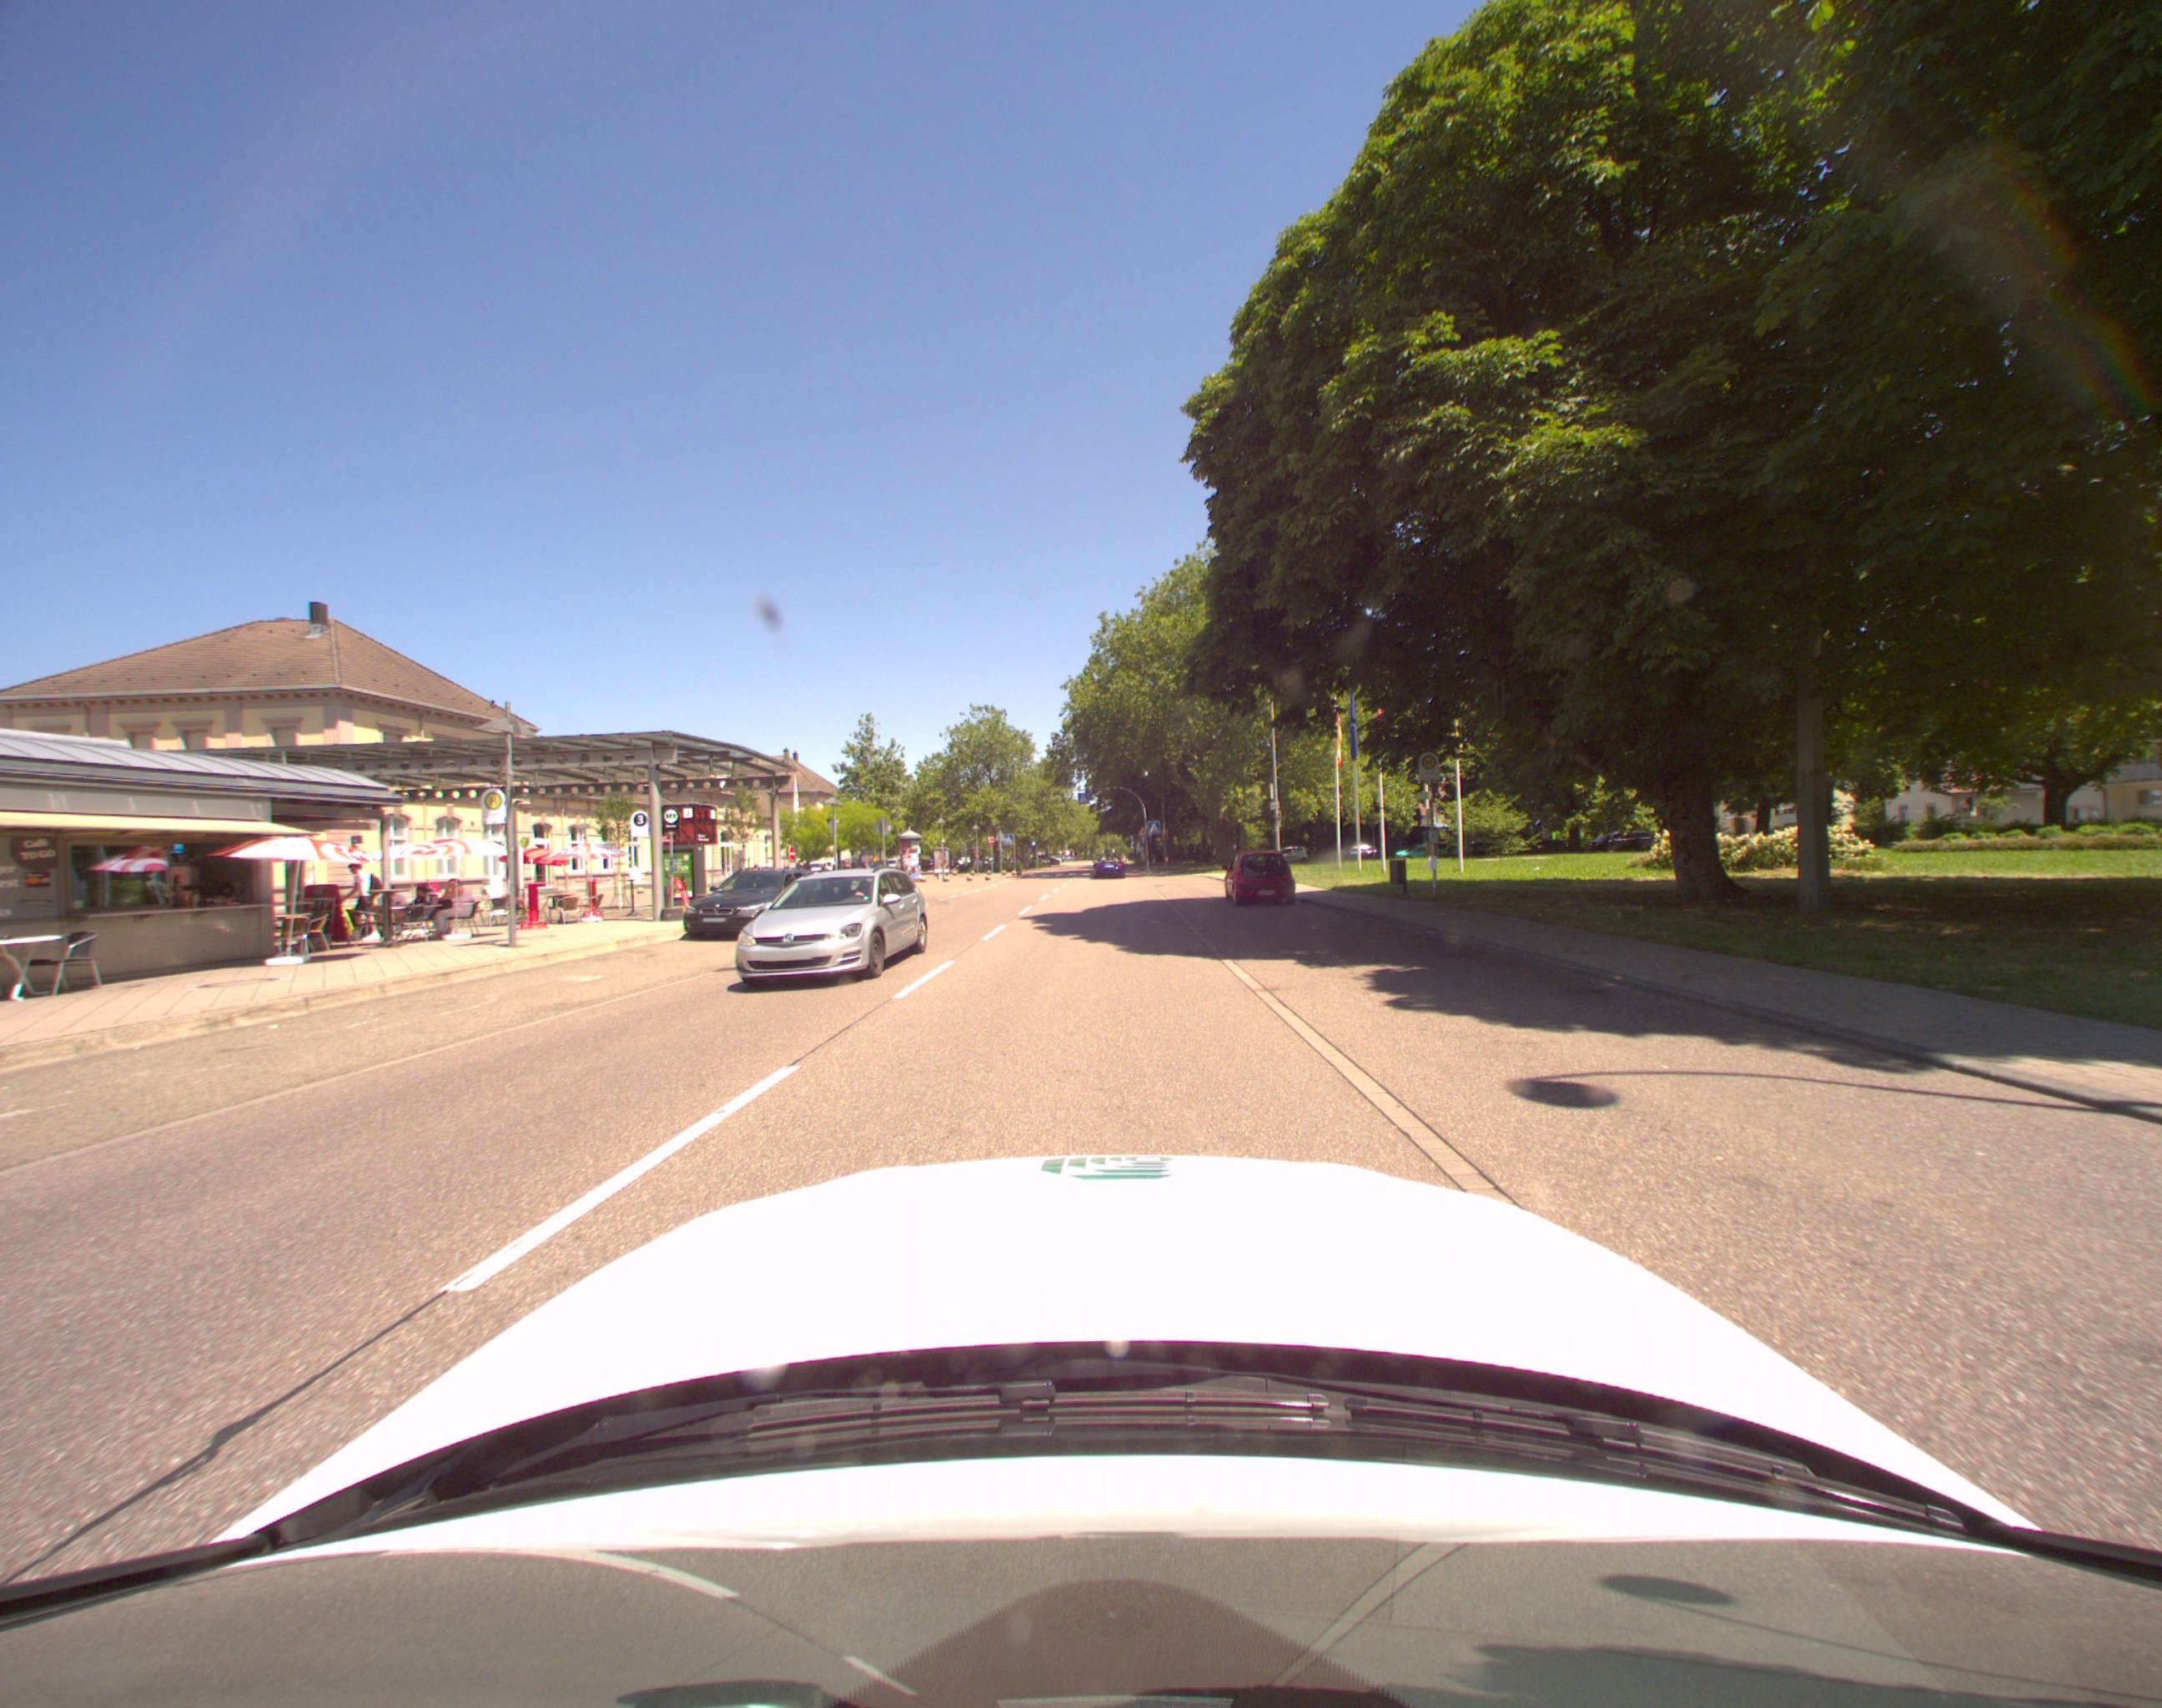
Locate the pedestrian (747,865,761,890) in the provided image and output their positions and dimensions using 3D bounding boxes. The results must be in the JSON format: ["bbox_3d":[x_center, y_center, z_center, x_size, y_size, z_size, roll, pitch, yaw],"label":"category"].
[{"bbox_3d":[-22.260,1.626,55.509,0.661,1.673,0.623,0,-3,-44],"label":"pedestrian"}]

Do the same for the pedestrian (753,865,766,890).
[{"bbox_3d":[-22.263,1.646,56.380,0.589,1.710,0.580,0,-3,-44],"label":"pedestrian"}]

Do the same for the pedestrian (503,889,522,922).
[{"bbox_3d":[-16.376,1.488,23.469,0.373,0.923,0.422,-1,-2,-27],"label":"pedestrian"}]

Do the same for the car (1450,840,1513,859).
[{"bbox_3d":[33.491,-0.373,68.158,4.320,1.416,2.001,-1,-1,2],"label":"car"}]

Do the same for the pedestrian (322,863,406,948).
[{"bbox_3d":[-16.152,1.147,18.366,0.793,1.828,1.147,-3,-2,19],"label":"pedestrian"}]

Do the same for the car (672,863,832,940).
[{"bbox_3d":[-7.516,1.012,19.187,1.713,1.478,4.786,-3,0,1],"label":"car"}]

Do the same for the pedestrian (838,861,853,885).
[{"bbox_3d":[-16.850,1.377,58.253,0.754,1.659,0.724,-3,-2,19],"label":"pedestrian"}]

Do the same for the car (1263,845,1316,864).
[{"bbox_3d":[17.755,0.019,69.417,4.085,1.466,2.003,-2,0,5],"label":"car"}]

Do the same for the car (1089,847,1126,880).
[{"bbox_3d":[1.555,0.561,48.903,2.118,1.848,4.048,-1,0,0],"label":"car"}]

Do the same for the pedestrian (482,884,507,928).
[{"bbox_3d":[-15.488,1.380,21.517,0.367,1.123,0.429,-4,-2,36],"label":"pedestrian"}]

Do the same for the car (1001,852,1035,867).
[{"bbox_3d":[-8.170,0.679,104.858,3.996,1.781,1.989,-2,0,-17],"label":"car"}]

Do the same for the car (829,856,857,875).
[{"bbox_3d":[-27.454,1.318,94.093,1.987,2.013,4.000,-2,0,1],"label":"car"}]

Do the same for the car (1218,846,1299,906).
[{"bbox_3d":[4.908,0.562,22.940,1.711,1.478,3.711,-3,0,5],"label":"car"}]

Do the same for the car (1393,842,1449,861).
[{"bbox_3d":[28.491,-0.230,68.301,3.864,1.454,2.002,-2,-1,3],"label":"car"}]

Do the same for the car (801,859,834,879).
[{"bbox_3d":[-27.913,1.534,86.543,1.744,1.917,4.777,-2,1,2],"label":"car"}]

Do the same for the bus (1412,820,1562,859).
[{"bbox_3d":[36.901,-1.317,74.275,12.332,2.978,2.269,-2,-1,1],"label":"bus"}]

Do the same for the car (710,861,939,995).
[{"bbox_3d":[-3.478,0.921,11.947,1.808,1.444,4.161,-3,0,2],"label":"car"}]

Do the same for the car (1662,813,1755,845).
[{"bbox_3d":[47.414,-1.862,61.702,5.208,2.090,2.011,-2,-3,26],"label":"car"}]

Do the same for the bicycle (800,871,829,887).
[{"bbox_3d":[-18.109,1.714,55.384,1.800,1.030,0.485,-2,-1,-22],"label":"bicycle"}]

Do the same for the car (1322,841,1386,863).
[{"bbox_3d":[23.021,-0.161,68.816,4.800,1.607,2.003,-2,0,5],"label":"car"}]

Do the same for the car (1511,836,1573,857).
[{"bbox_3d":[38.455,-0.608,68.008,4.079,1.609,2.002,-2,-1,3],"label":"car"}]

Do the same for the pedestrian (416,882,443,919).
[{"bbox_3d":[-17.687,1.257,22.112,0.421,0.972,0.373,-3,-2,14],"label":"pedestrian"}]
